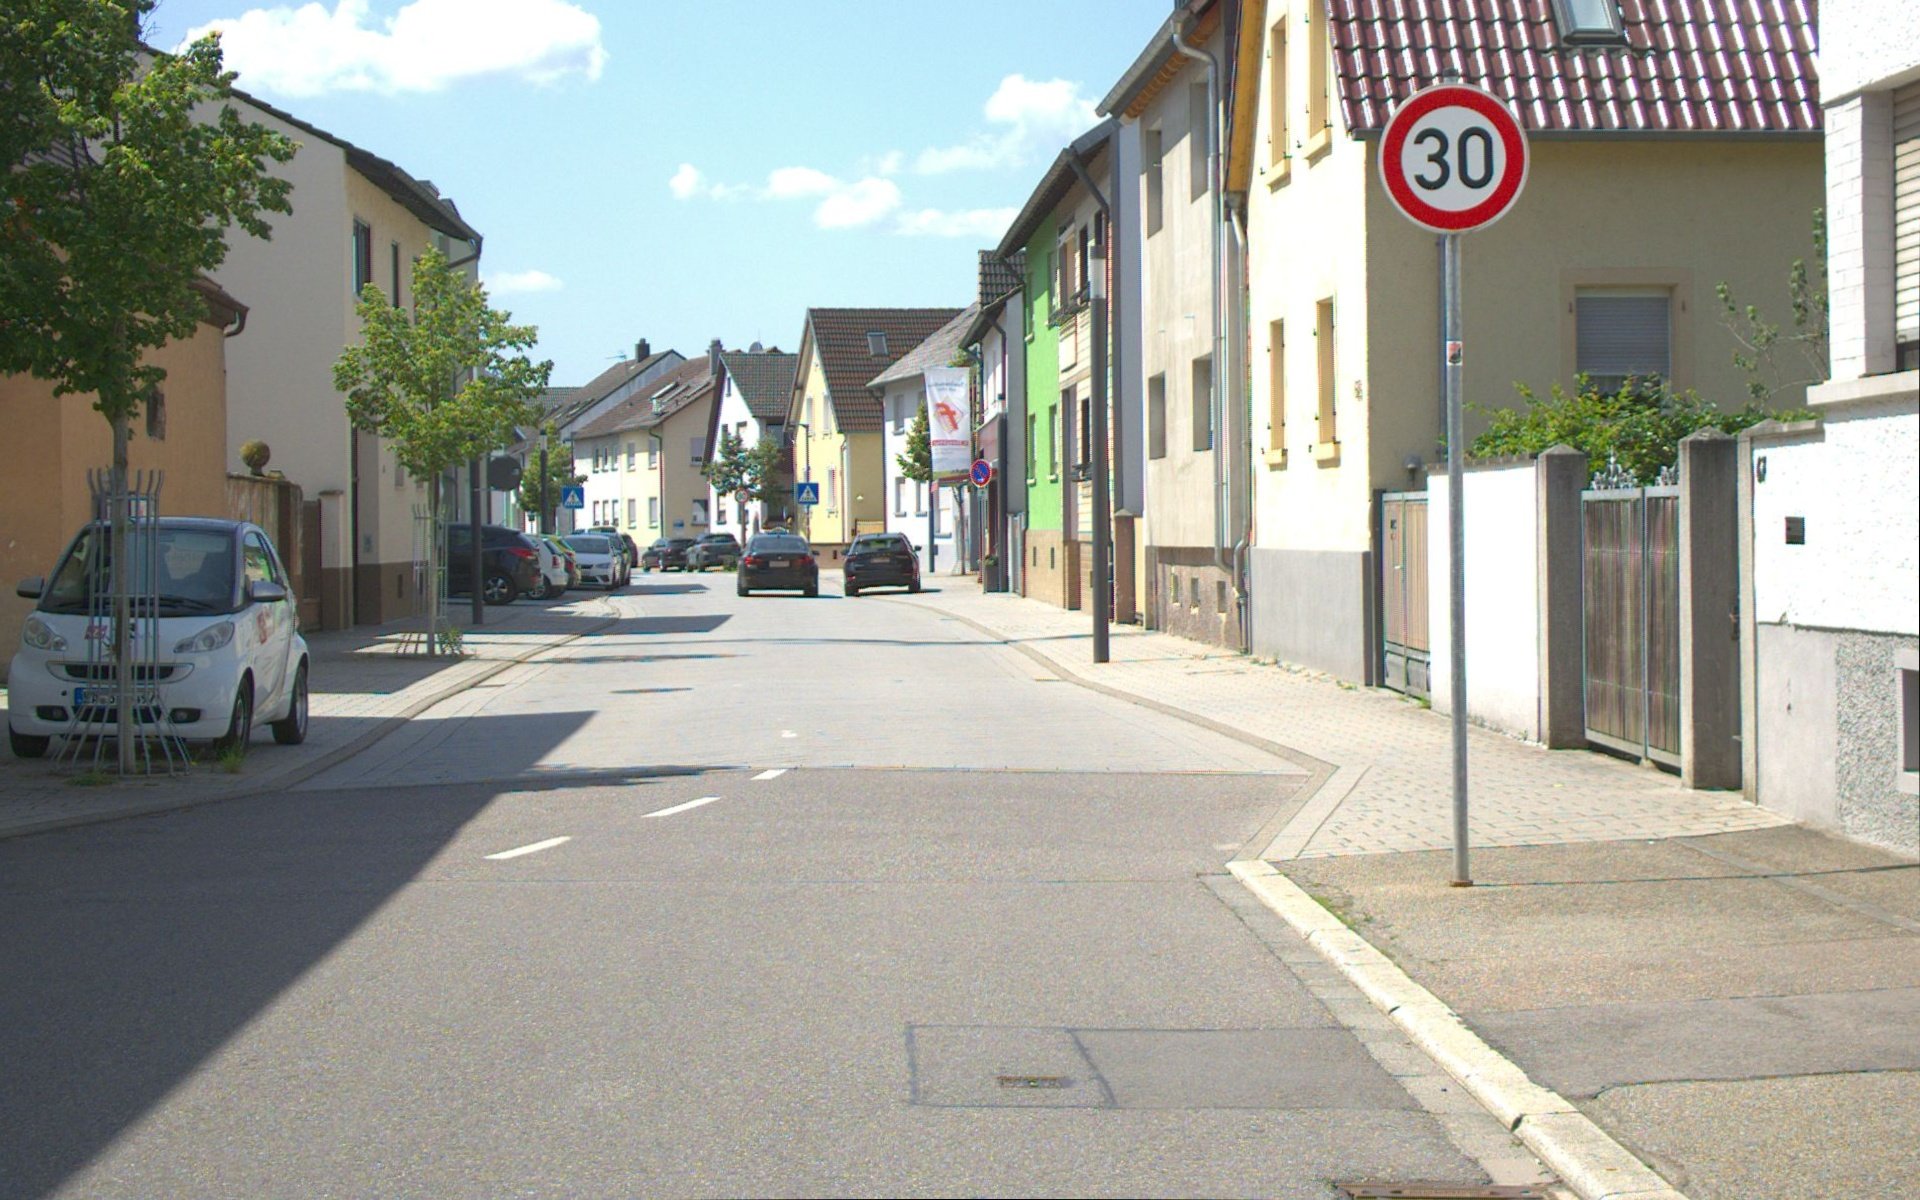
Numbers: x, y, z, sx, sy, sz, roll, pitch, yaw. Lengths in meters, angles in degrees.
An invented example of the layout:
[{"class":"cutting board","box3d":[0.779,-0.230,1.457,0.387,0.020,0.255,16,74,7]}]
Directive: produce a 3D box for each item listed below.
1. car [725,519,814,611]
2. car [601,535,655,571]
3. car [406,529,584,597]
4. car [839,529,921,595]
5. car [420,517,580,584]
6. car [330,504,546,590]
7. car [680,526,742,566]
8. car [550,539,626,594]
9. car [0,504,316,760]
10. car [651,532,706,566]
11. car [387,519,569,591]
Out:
[{"class":"car","box3d":[-4.493,-0.847,80.968,1.993,2.050,4.375,-1,1,-3]},{"class":"car","box3d":[-15.499,-2.206,160.286,1.877,1.585,4.001,-2,2,-14]},{"class":"car","box3d":[-10.968,-0.883,81.222,3.986,1.436,1.691,2,1,-2]},{"class":"car","box3d":[-1.923,-0.940,83.421,1.858,1.454,4.586,-3,1,-1]},{"class":"car","box3d":[-11.226,-1.219,84.102,3.692,1.520,1.673,1,1,-2]},{"class":"car","box3d":[-10.729,-1.091,70.832,4.218,1.652,1.785,1,1,-3]},{"class":"car","box3d":[-10.105,-2.209,139.515,1.846,1.557,3.695,-2,2,-14]},{"class":"car","box3d":[-9.969,-0.914,92.260,1.757,1.406,3.878,1,1,-3]},{"class":"car","box3d":[-5.314,0.168,22.808,1.572,1.556,2.822,1,1,-1]},{"class":"car","box3d":[-12.057,-2.180,147.156,1.710,1.382,3.707,-2,2,-14]},{"class":"car","box3d":[-11.010,-1.040,78.735,3.901,1.497,1.751,2,1,-1]}]
